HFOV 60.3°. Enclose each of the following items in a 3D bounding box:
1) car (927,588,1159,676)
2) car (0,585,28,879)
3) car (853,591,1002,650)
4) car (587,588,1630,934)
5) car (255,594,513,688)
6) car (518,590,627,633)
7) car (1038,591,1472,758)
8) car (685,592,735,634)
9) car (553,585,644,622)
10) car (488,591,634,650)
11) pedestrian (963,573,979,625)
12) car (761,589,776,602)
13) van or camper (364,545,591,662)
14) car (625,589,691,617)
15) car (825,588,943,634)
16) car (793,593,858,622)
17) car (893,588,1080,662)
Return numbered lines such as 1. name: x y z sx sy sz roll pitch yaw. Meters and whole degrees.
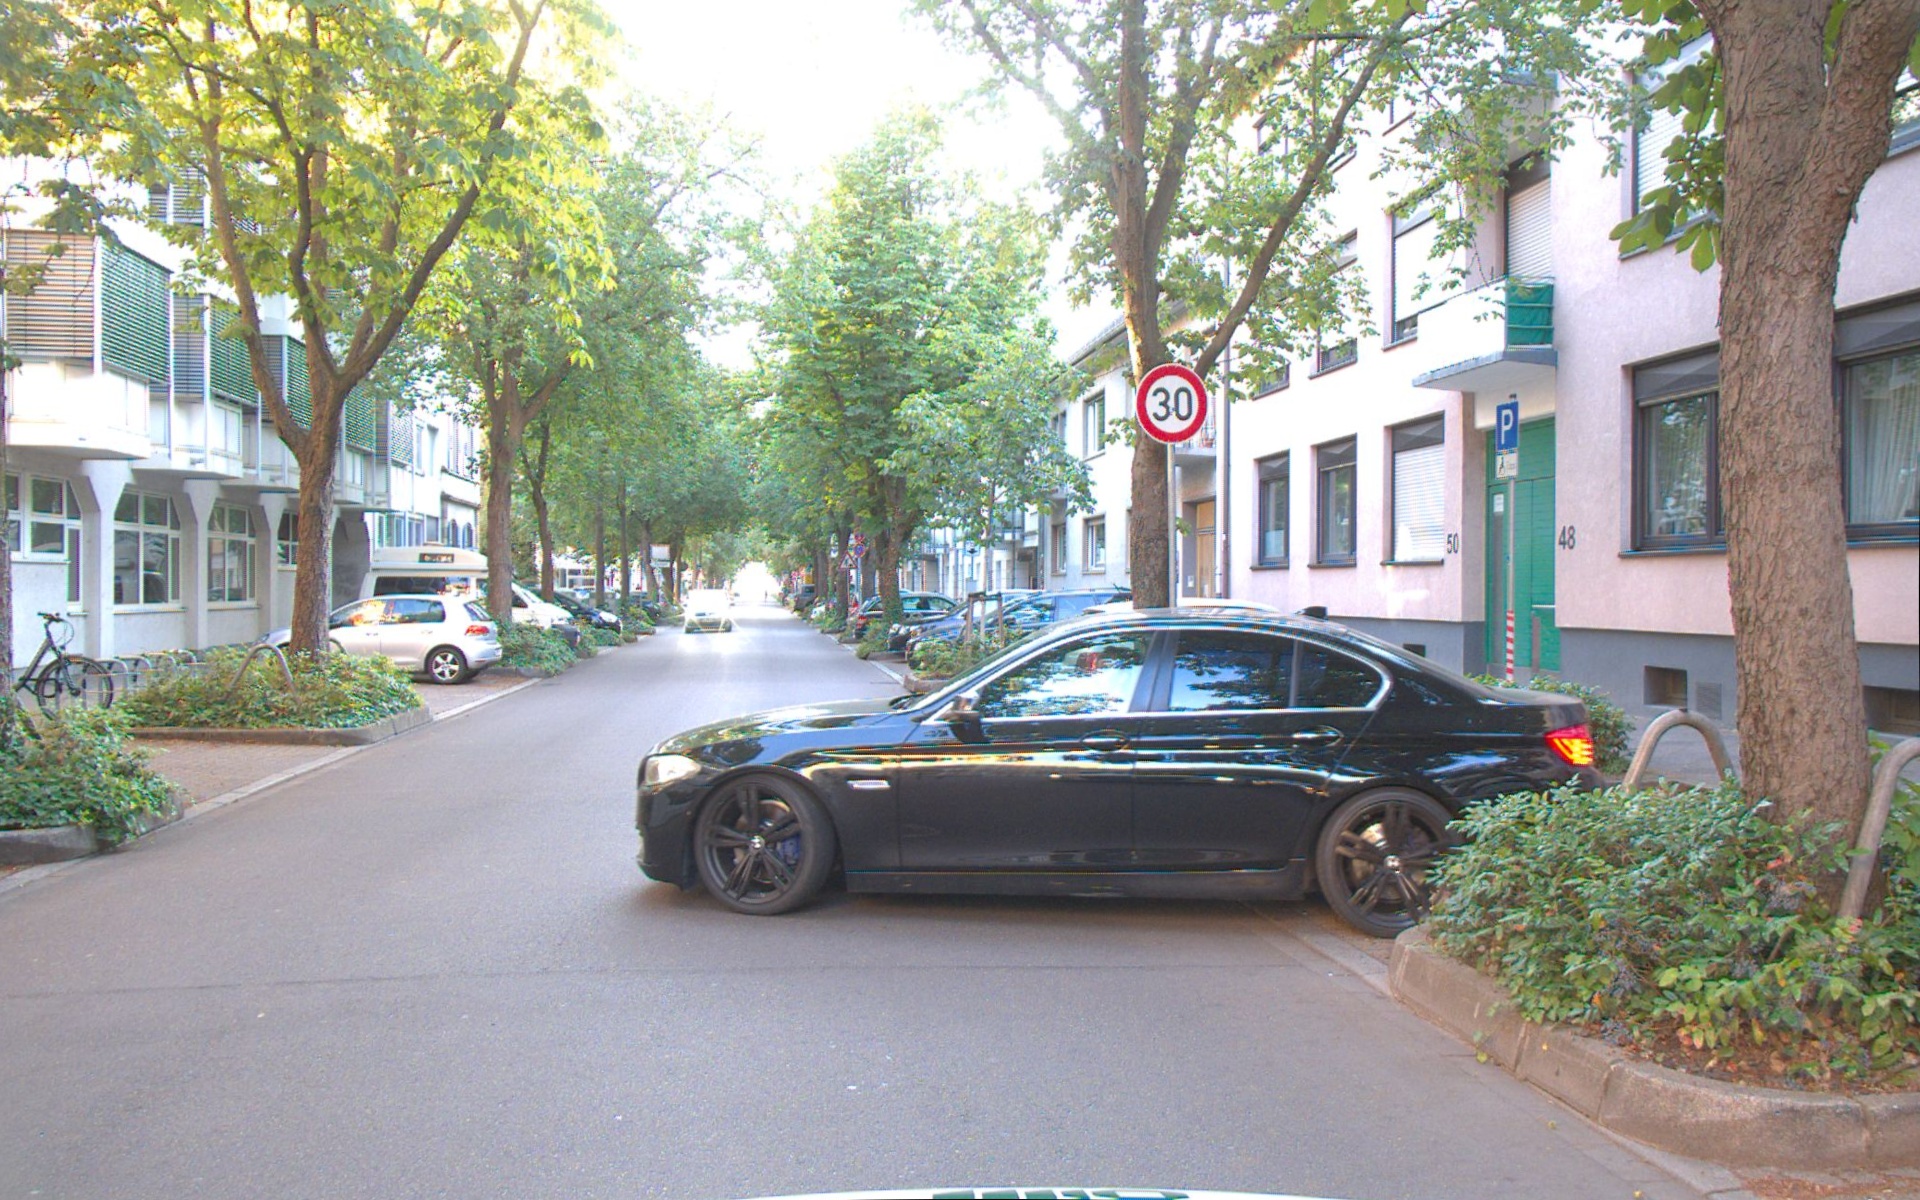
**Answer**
1. car: 1.457 0.538 29.682 3.894 1.502 1.781 0 0 -9
2. car: -7.104 0.707 7.860 4.272 1.544 1.782 0 0 -7
3. car: -0.910 0.537 44.930 3.893 1.554 1.782 0 0 -8
4. car: 0.683 0.696 8.295 4.644 1.506 1.801 0 0 5
5. car: -9.864 0.683 28.571 3.892 1.544 1.783 0 0 -6
6. car: -15.014 0.442 64.264 3.891 1.647 1.783 0 0 -6
7. car: 2.805 0.667 16.100 3.836 1.502 1.661 0 0 -9
8. car: -9.683 0.474 64.256 1.745 1.589 4.162 0 0 -6
9. car: -16.565 0.154 75.863 3.891 1.647 1.783 0 0 -6
10. car: -11.493 0.565 47.851 3.892 1.647 1.783 0 0 -6
11. pedestrian: 0.438 -0.056 65.661 0.577 2.049 0.669 0 0 -6
12. car: -24.154 -0.563 208.859 1.787 1.557 3.995 -1 0 -6
13. van or camper: -10.674 0.057 36.873 4.575 2.521 1.997 0 0 -7
14. car: -18.589 0.171 101.964 3.891 1.647 1.783 0 0 -6
15. car: -2.630 0.365 56.770 3.894 1.554 1.782 0 0 -9
16. car: -8.170 0.468 100.636 3.891 1.713 1.783 0 0 -6
17. car: 0.542 0.528 36.142 3.893 1.554 1.782 0 0 -8
